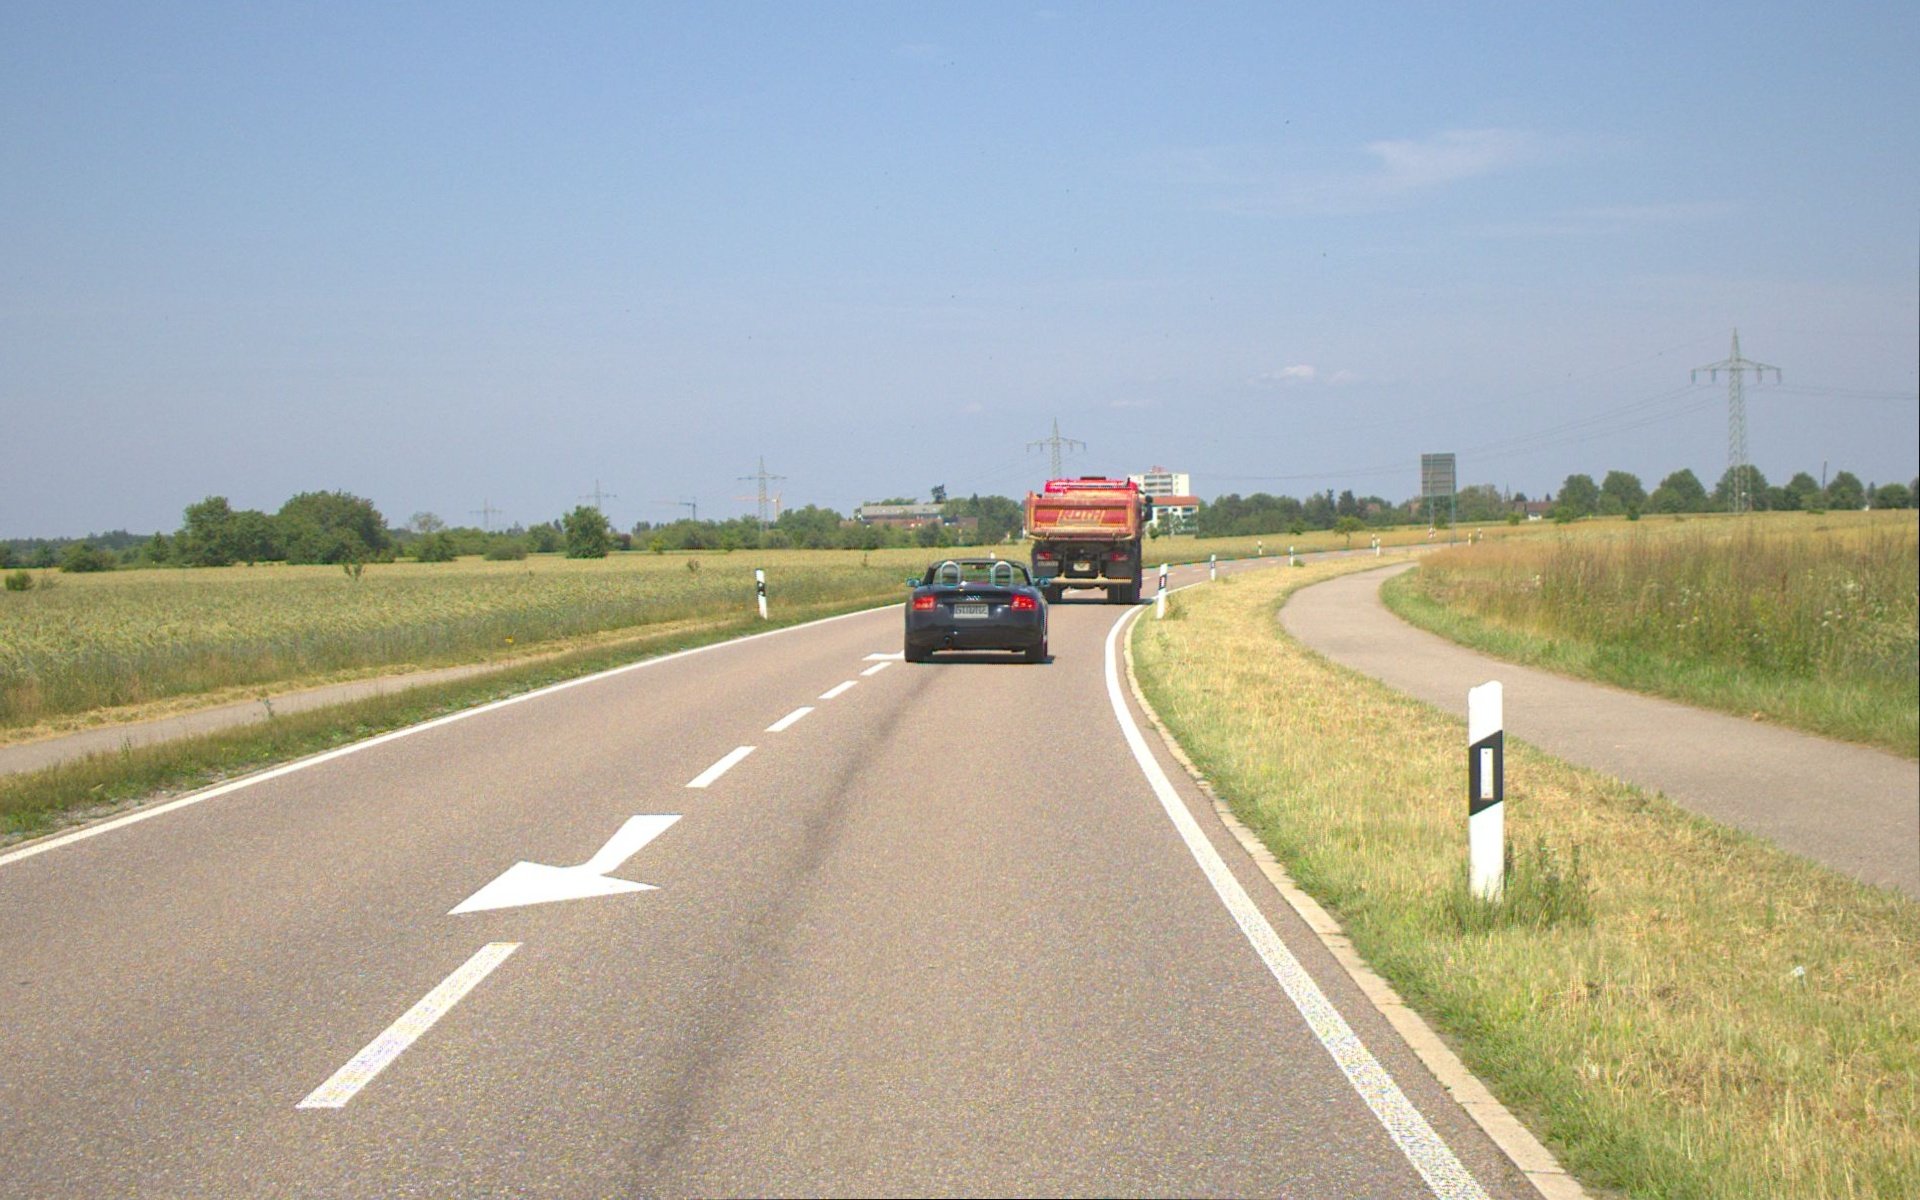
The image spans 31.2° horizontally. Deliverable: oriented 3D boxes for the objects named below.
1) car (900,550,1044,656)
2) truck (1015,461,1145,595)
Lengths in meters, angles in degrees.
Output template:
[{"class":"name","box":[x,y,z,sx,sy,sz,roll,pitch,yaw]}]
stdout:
[{"class":"car","box":[0.196,0.005,43.684,1.744,1.275,4.000,0,1,1]},{"class":"truck","box":[2.965,-1.712,83.013,2.938,3.078,7.195,0,1,4]}]
